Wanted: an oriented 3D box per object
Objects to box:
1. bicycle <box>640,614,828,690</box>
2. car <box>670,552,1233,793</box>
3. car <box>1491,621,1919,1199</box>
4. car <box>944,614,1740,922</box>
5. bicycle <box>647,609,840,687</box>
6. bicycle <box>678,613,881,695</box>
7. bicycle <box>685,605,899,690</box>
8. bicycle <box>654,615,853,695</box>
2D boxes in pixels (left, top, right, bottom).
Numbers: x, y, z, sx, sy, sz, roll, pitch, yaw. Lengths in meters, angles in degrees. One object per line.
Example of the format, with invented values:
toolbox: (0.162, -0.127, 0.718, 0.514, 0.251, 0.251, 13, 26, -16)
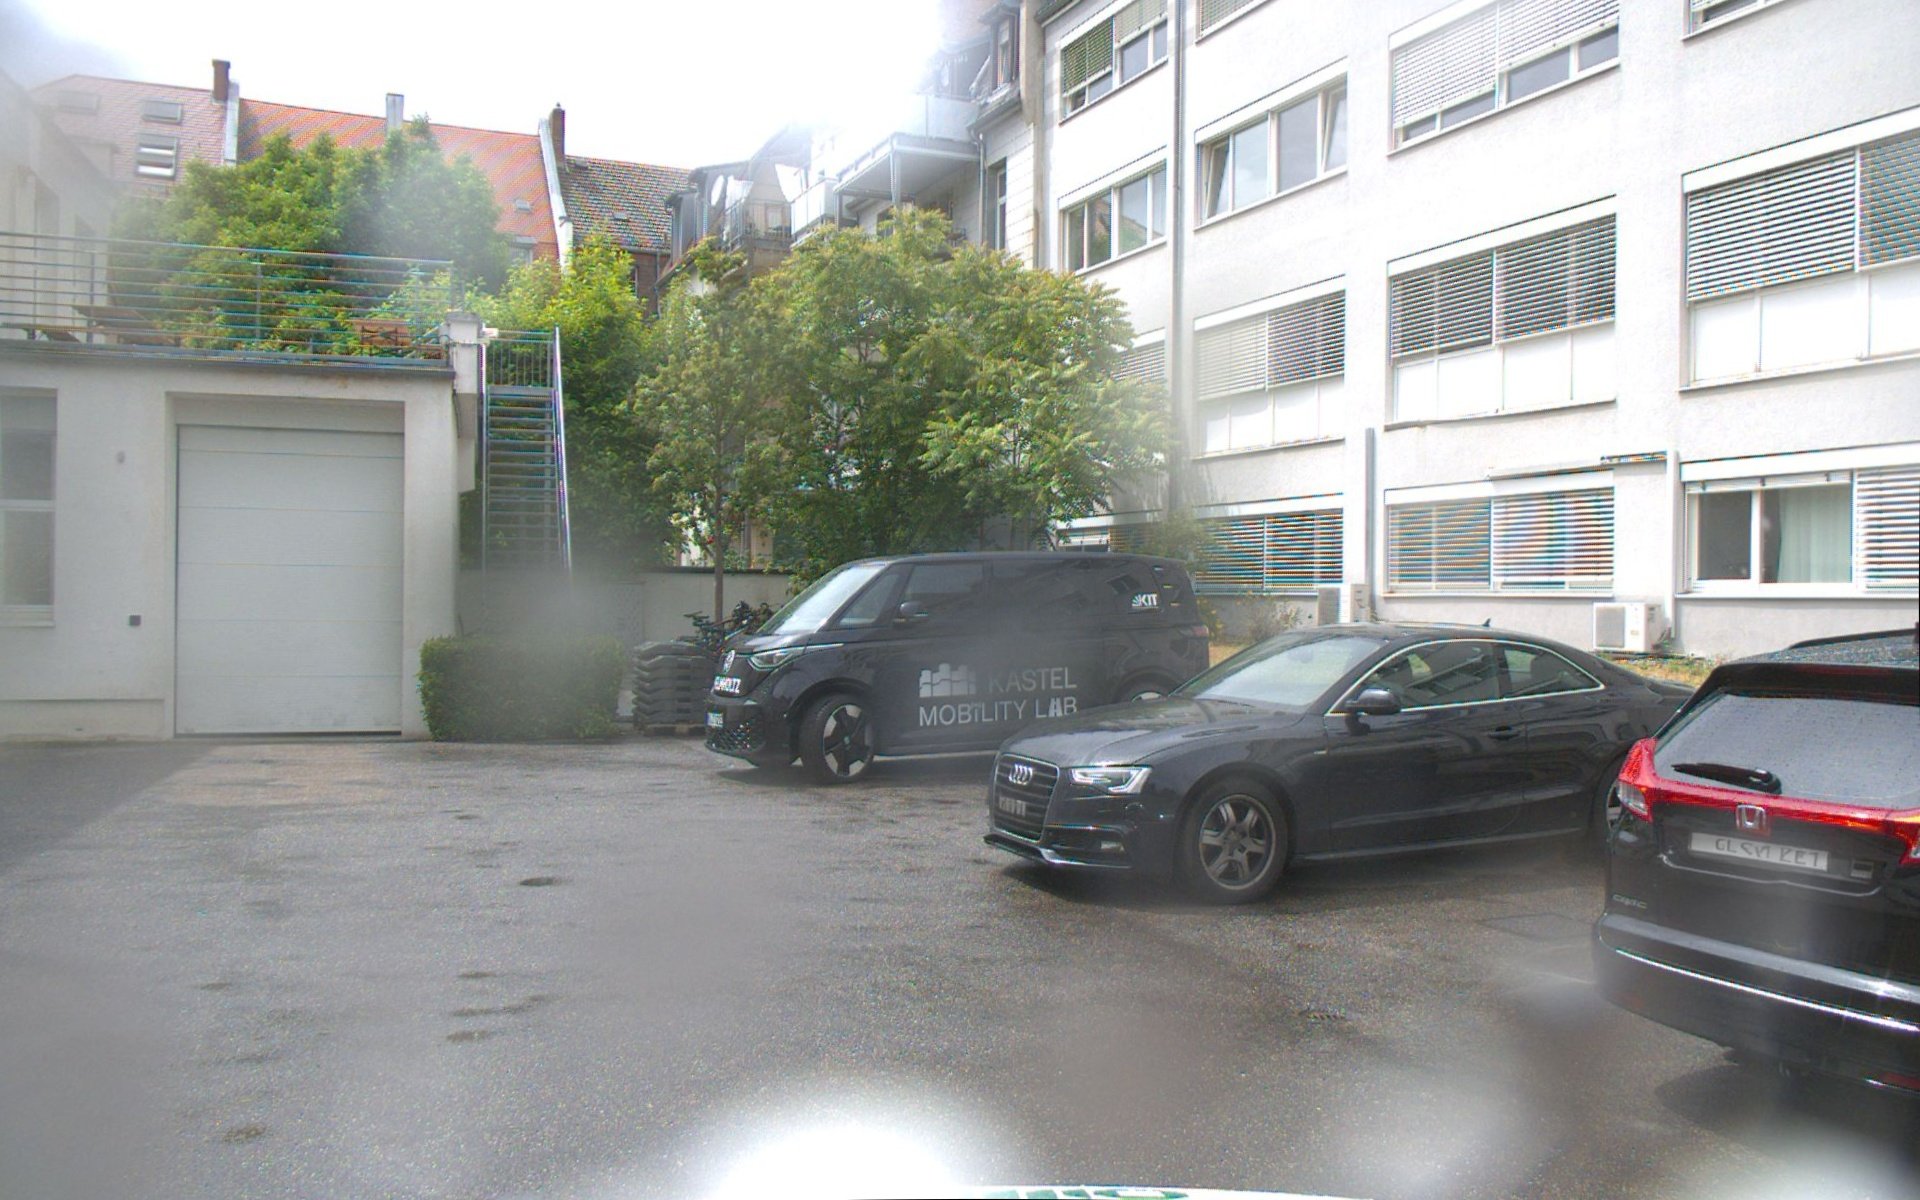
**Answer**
bicycle: (-3.503, 0.817, 25.717, 2.801, 1.097, 0.685, 2, 0, -21)
car: (-0.077, 0.536, 14.901, 4.648, 1.865, 2.095, -1, 1, -24)
car: (3.996, 0.787, 5.375, 4.116, 1.425, 1.925, -1, 0, -24)
car: (2.226, 0.812, 9.593, 4.296, 1.372, 1.846, 0, 1, -24)
bicycle: (-3.267, 0.737, 25.053, 2.801, 1.097, 0.685, 2, 0, -21)
bicycle: (-2.591, 0.775, 23.780, 2.801, 1.097, 0.685, 2, 0, -21)
bicycle: (-2.330, 0.671, 23.048, 2.880, 1.097, 0.685, 2, 0, -21)
bicycle: (-3.036, 0.819, 24.382, 2.801, 1.097, 0.685, 2, 0, -21)
